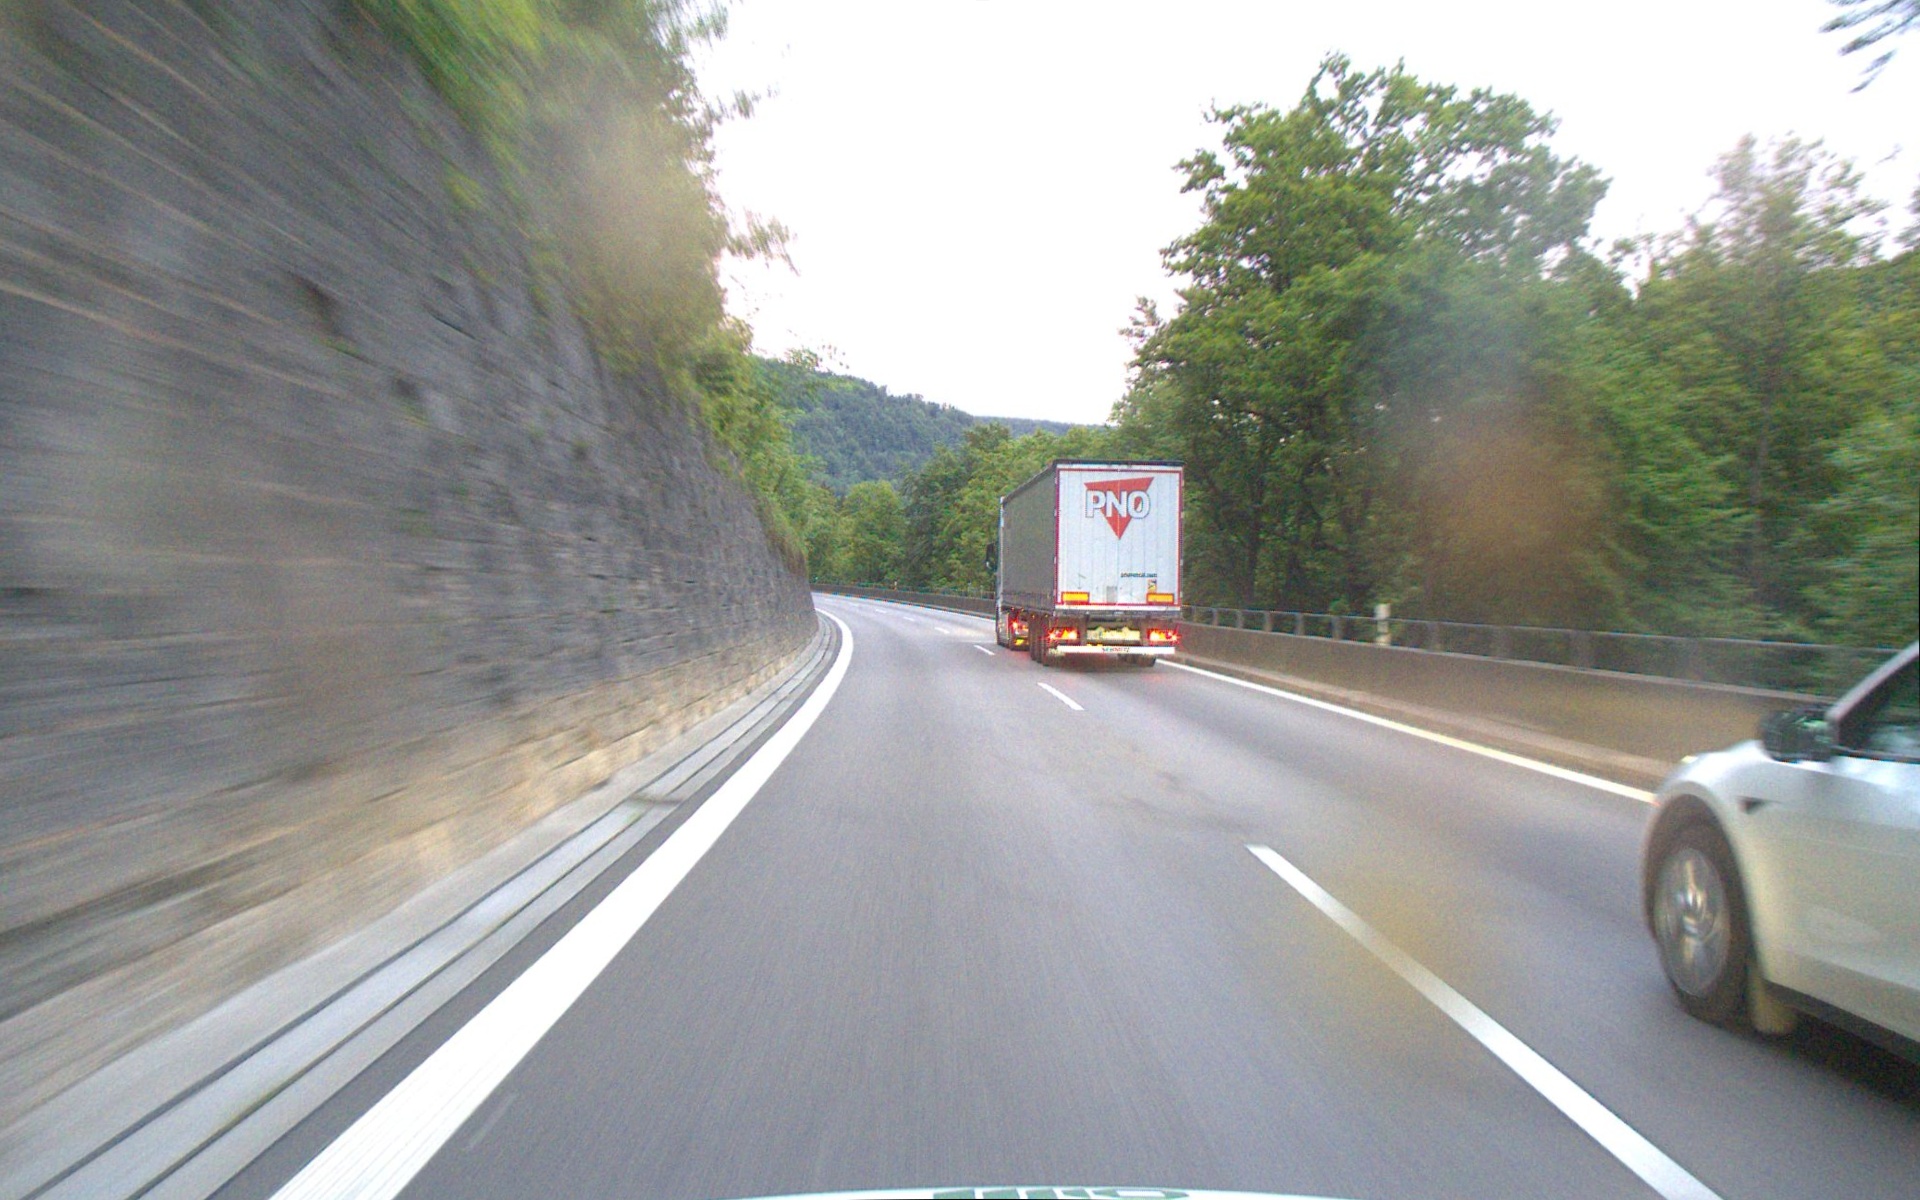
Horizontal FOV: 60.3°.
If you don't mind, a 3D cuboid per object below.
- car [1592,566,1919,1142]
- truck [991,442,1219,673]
[{"bbox_3d":[3.731,0.750,4.706,1.953,1.642,4.864,2,0,0],"label":"car"},{"bbox_3d":[2.874,-0.816,39.311,3.229,4.246,16.495,2,0,-2],"label":"truck"}]
